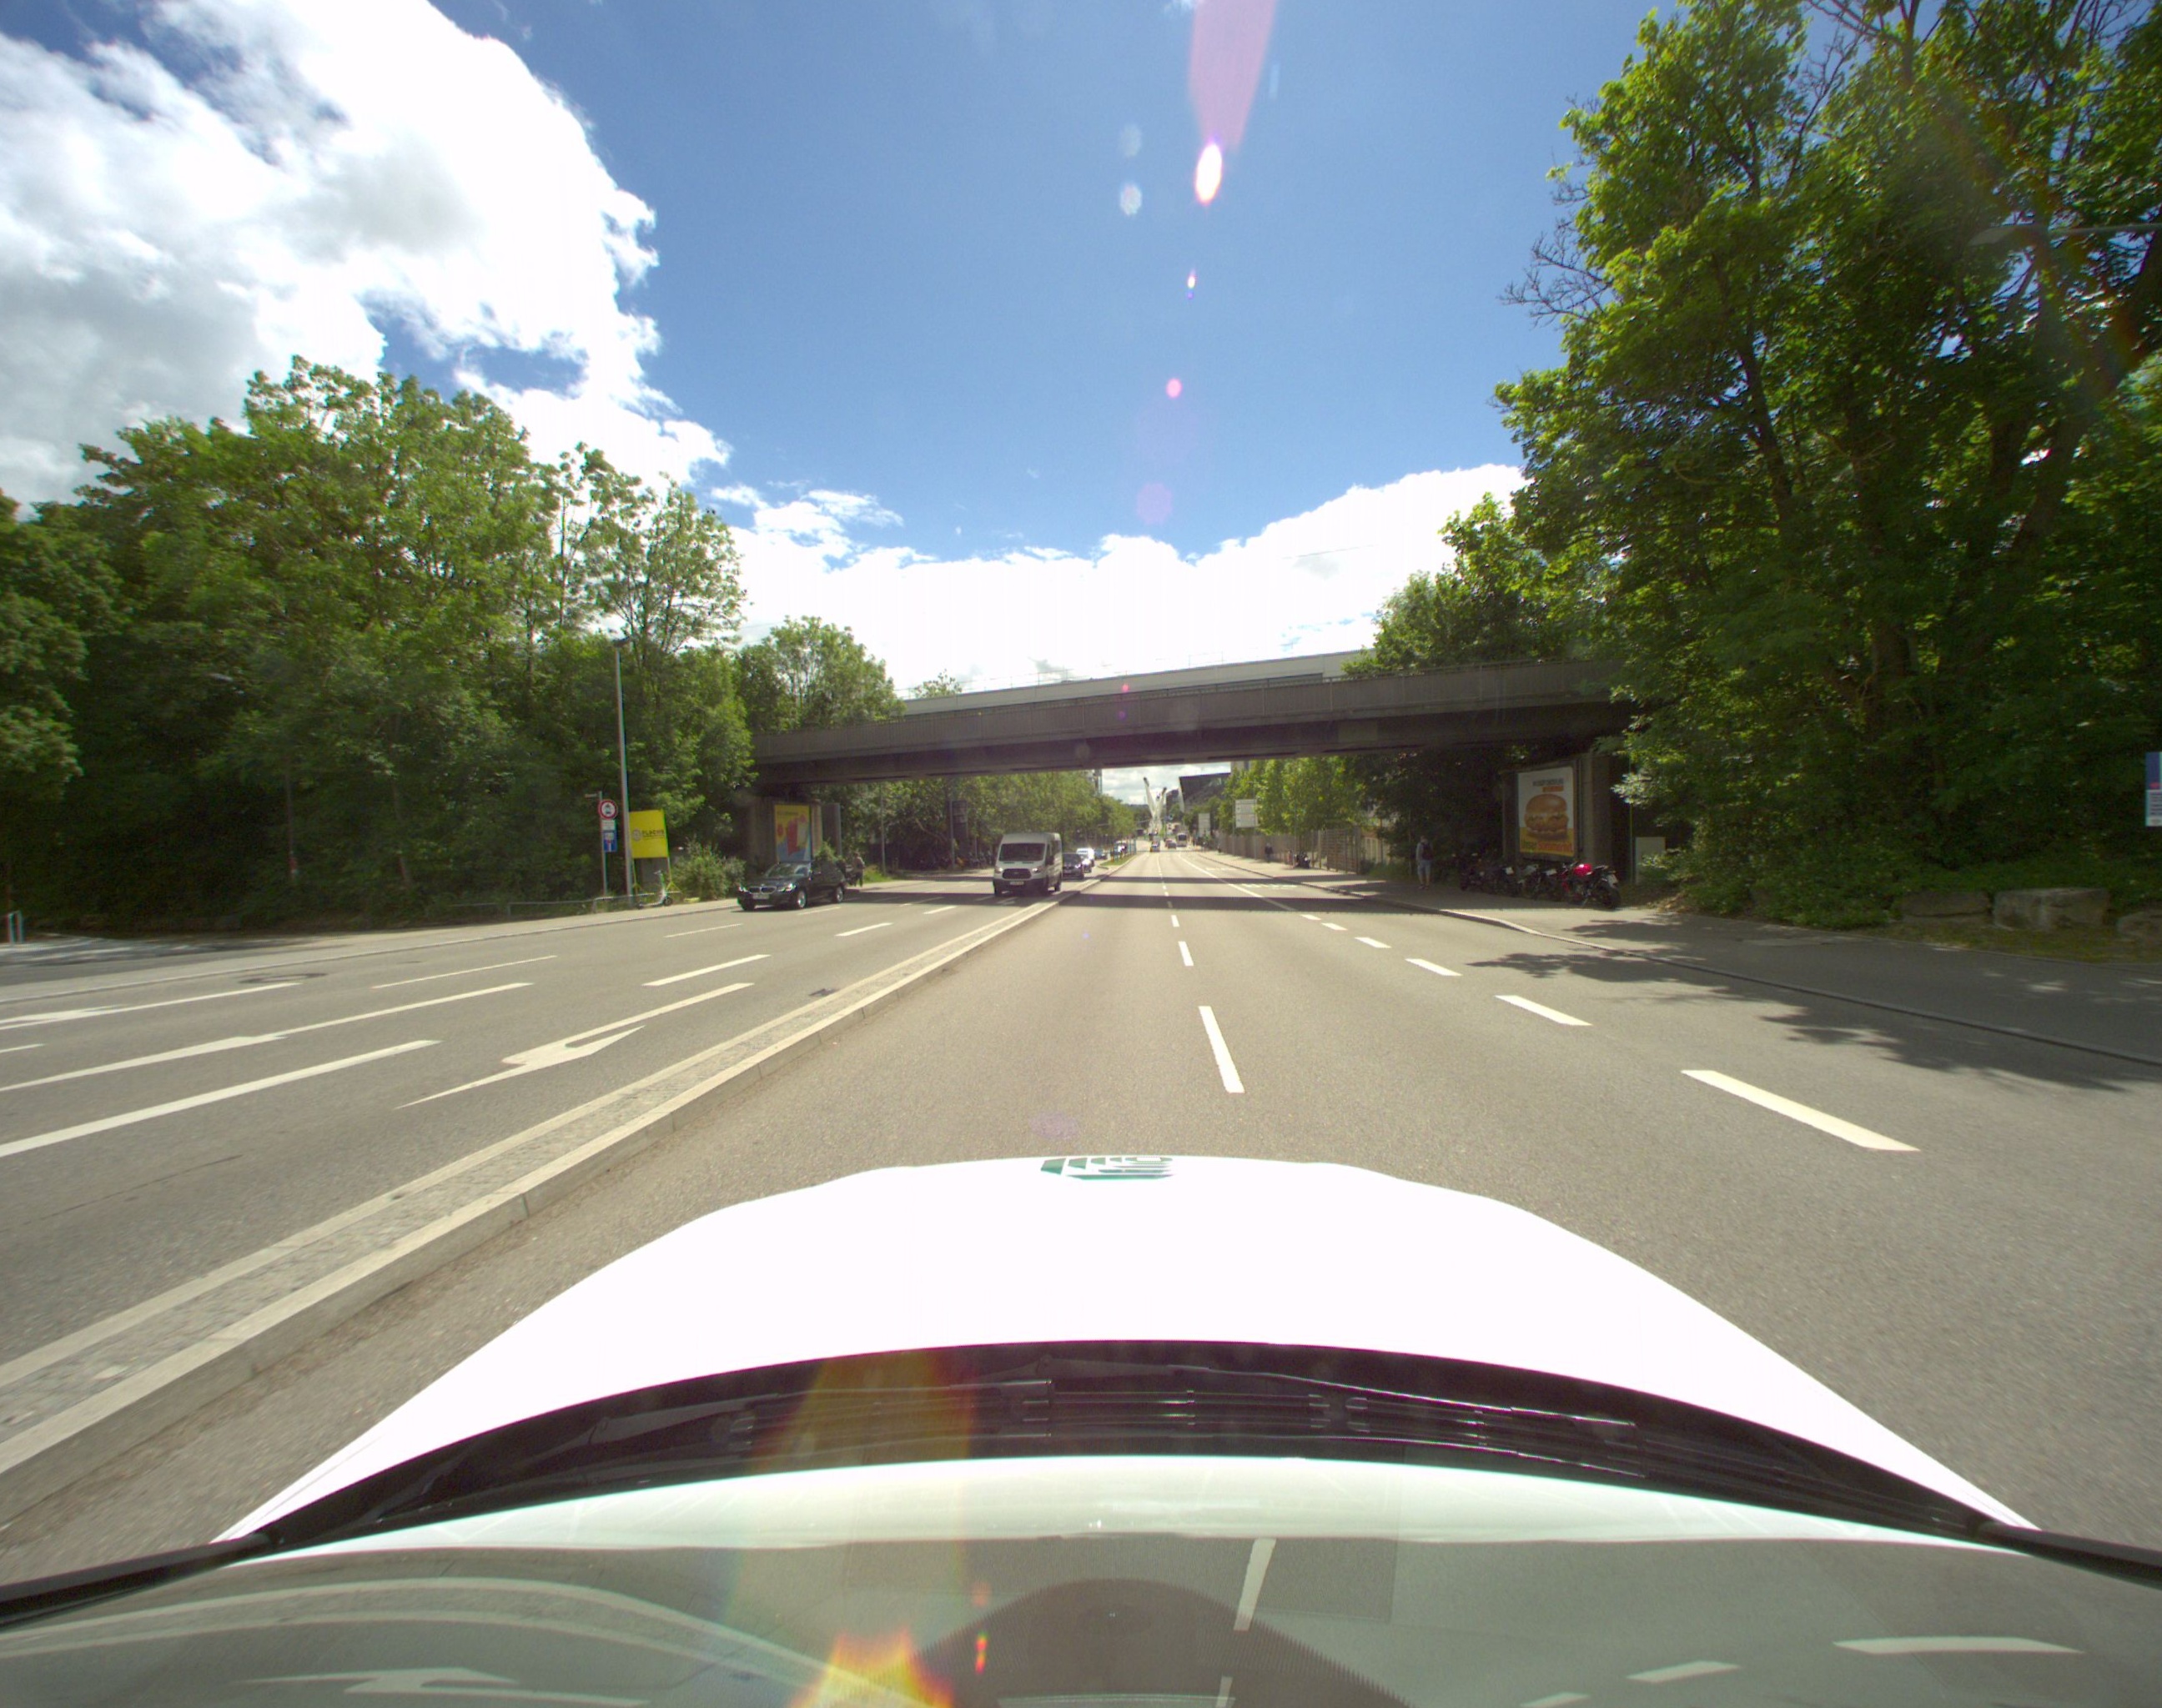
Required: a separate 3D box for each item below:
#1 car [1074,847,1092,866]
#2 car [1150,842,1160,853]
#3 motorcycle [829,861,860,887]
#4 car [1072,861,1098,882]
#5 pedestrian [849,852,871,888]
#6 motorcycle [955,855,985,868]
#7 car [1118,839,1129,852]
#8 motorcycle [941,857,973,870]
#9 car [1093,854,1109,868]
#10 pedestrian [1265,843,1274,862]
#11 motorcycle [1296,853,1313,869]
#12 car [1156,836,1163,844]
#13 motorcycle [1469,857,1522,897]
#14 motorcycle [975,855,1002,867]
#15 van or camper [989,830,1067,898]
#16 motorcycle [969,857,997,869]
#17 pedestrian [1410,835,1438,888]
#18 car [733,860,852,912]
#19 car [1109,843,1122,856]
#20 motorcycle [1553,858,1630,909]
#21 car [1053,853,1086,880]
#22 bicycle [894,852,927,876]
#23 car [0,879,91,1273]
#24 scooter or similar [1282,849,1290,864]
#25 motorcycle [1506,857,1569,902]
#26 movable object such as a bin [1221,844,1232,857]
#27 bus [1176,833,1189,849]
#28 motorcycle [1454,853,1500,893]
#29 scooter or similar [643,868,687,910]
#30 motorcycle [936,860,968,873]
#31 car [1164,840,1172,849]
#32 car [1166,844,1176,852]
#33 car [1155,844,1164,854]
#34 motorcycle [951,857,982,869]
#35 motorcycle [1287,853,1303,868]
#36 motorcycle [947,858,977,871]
[{"bbox_3d":[0.215,0.225,78.406,1.694,1.698,3.925,-1,0,1],"label":"car"},{"bbox_3d":[13.939,-1.322,153.707,1.920,1.771,4.008,-1,4,5],"label":"car"},{"bbox_3d":[-11.142,0.961,38.478,0.684,1.210,2.075,0,-2,4],"label":"motorcycle"},{"bbox_3d":[0.343,1.295,60.931,1.693,1.436,3.928,-1,0,4],"label":"car"},{"bbox_3d":[-10.303,0.740,38.004,0.721,1.622,0.721,3,3,3],"label":"pedestrian"},{"bbox_3d":[-9.973,0.676,73.080,2.535,1.050,0.676,-1,0,10],"label":"motorcycle"},{"bbox_3d":[8.103,-1.632,154.539,1.984,2.254,4.335,-1,5,5],"label":"car"},{"bbox_3d":[-10.552,0.841,69.327,2.535,1.050,0.676,-1,0,10],"label":"motorcycle"},{"bbox_3d":[2.617,0.849,104.960,1.692,1.698,3.930,-1,0,6],"label":"car"},{"bbox_3d":[16.849,-0.119,72.924,0.618,1.618,0.748,-2,4,3],"label":"pedestrian"},{"bbox_3d":[15.342,0.447,55.960,0.561,1.029,2.632,-3,1,4],"label":"motorcycle"},{"bbox_3d":[21.932,-3.912,227.695,1.865,2.013,3.699,-2,4,4],"label":"car"},{"bbox_3d":[12.112,0.641,23.869,0.545,1.110,2.018,-2,0,2],"label":"motorcycle"},{"bbox_3d":[-9.241,0.675,81.309,2.557,1.107,0.798,-1,0,16],"label":"motorcycle"},{"bbox_3d":[-1.957,0.361,32.433,1.998,2.401,6.409,-1,0,6],"label":"van or camper"},{"bbox_3d":[-9.353,0.880,77.771,2.557,1.107,0.798,-1,0,16],"label":"motorcycle"},{"bbox_3d":[12.252,0.272,29.100,0.620,1.858,0.873,-2,-1,3],"label":"pedestrian"},{"bbox_3d":[-8.931,0.934,25.651,1.722,1.456,4.565,-1,-1,5],"label":"car"},{"bbox_3d":[5.709,-0.790,134.332,1.984,2.013,4.006,-2,0,5],"label":"car"},{"bbox_3d":[11.784,0.660,18.888,0.545,1.110,2.018,-2,0,2],"label":"motorcycle"},{"bbox_3d":[-0.649,0.693,47.903,1.693,1.521,3.078,-1,0,4],"label":"car"},{"bbox_3d":[-15.545,0.913,74.222,2.749,2.013,1.037,-3,4,-19],"label":"bicycle"},{"bbox_3d":[-5.008,0.867,1.486,1.630,1.471,3.781,-1,0,4],"label":"car"},{"bbox_3d":[16.628,0.200,66.090,0.367,1.177,1.134,-1,0,4],"label":"scooter or similar"},{"bbox_3d":[11.957,0.655,21.412,0.545,1.110,2.018,-2,0,2],"label":"motorcycle"},{"bbox_3d":[23.168,-0.576,129.542,1.654,2.132,1.282,-1,0,10],"label":"movable object such as a bin"},{"bbox_3d":[26.307,-3.430,211.925,2.784,3.751,9.484,-2,4,4],"label":"bus"},{"bbox_3d":[12.565,0.583,25.905,0.545,1.198,1.904,-2,0,2],"label":"motorcycle"},{"bbox_3d":[-12.884,1.071,25.244,0.609,1.211,1.263,-2,0,4],"label":"scooter or similar"},{"bbox_3d":[-10.817,1.026,68.122,2.535,1.050,0.676,-1,0,10],"label":"motorcycle"},{"bbox_3d":[22.212,-2.397,208.359,1.984,2.013,4.008,-1,4,6],"label":"car"},{"bbox_3d":[20.476,-1.372,184.808,1.984,1.859,4.005,-2,0,4],"label":"car"},{"bbox_3d":[17.843,-1.130,186.120,1.849,1.705,4.007,-2,5,4],"label":"car"},{"bbox_3d":[-10.069,0.785,71.666,2.535,1.050,0.676,-1,0,10],"label":"motorcycle"},{"bbox_3d":[15.543,0.438,59.166,0.561,1.029,2.632,-3,1,4],"label":"motorcycle"},{"bbox_3d":[-10.298,0.881,70.494,2.535,1.050,0.676,-1,0,10],"label":"motorcycle"}]
